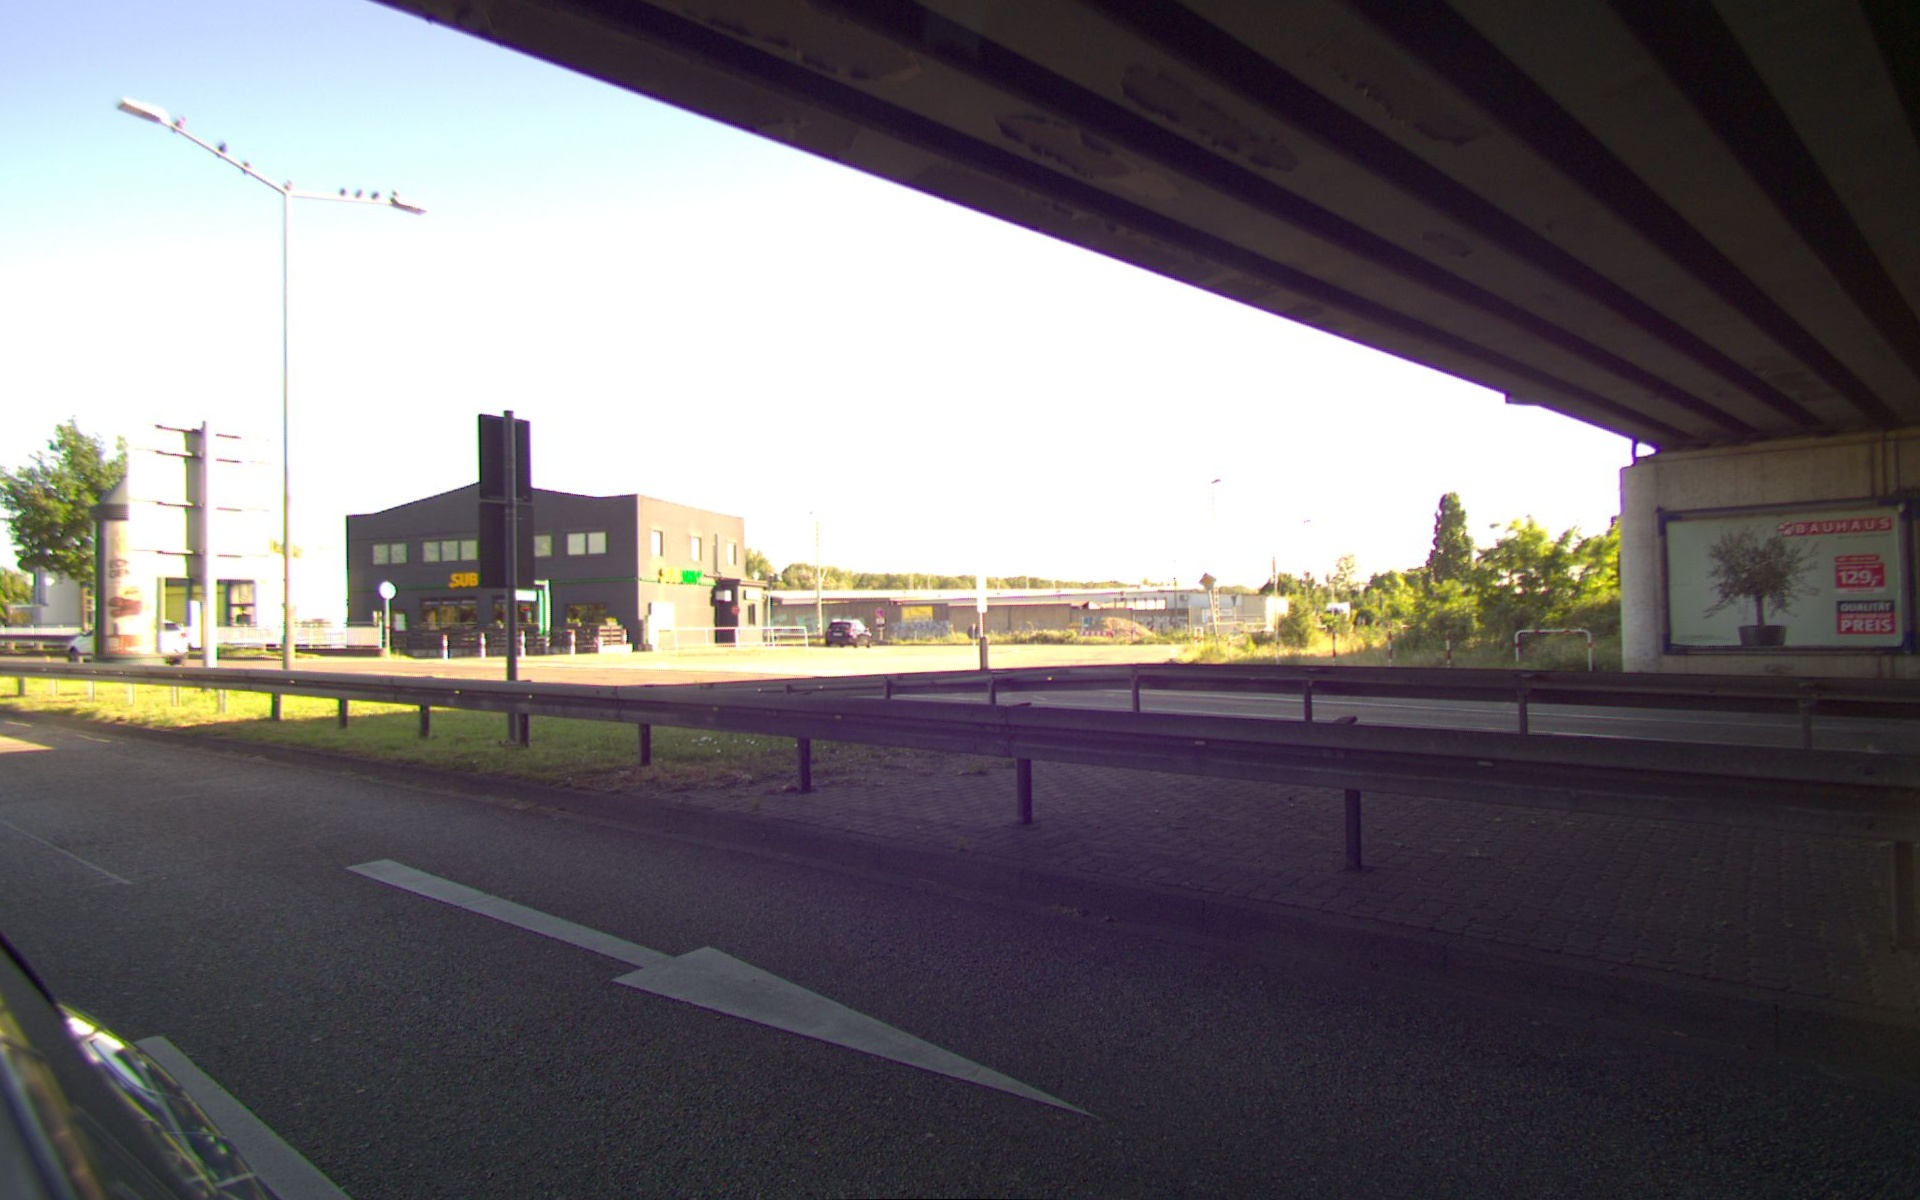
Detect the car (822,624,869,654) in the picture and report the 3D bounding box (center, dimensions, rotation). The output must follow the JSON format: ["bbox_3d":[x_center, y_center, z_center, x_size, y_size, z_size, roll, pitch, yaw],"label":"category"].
[{"bbox_3d":[-6.130,2.064,54.645,1.859,1.453,3.996,-1,0,3],"label":"car"}]

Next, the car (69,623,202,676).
[{"bbox_3d":[-26.933,1.597,33.043,4.274,1.619,1.790,-1,-1,27],"label":"car"}]
